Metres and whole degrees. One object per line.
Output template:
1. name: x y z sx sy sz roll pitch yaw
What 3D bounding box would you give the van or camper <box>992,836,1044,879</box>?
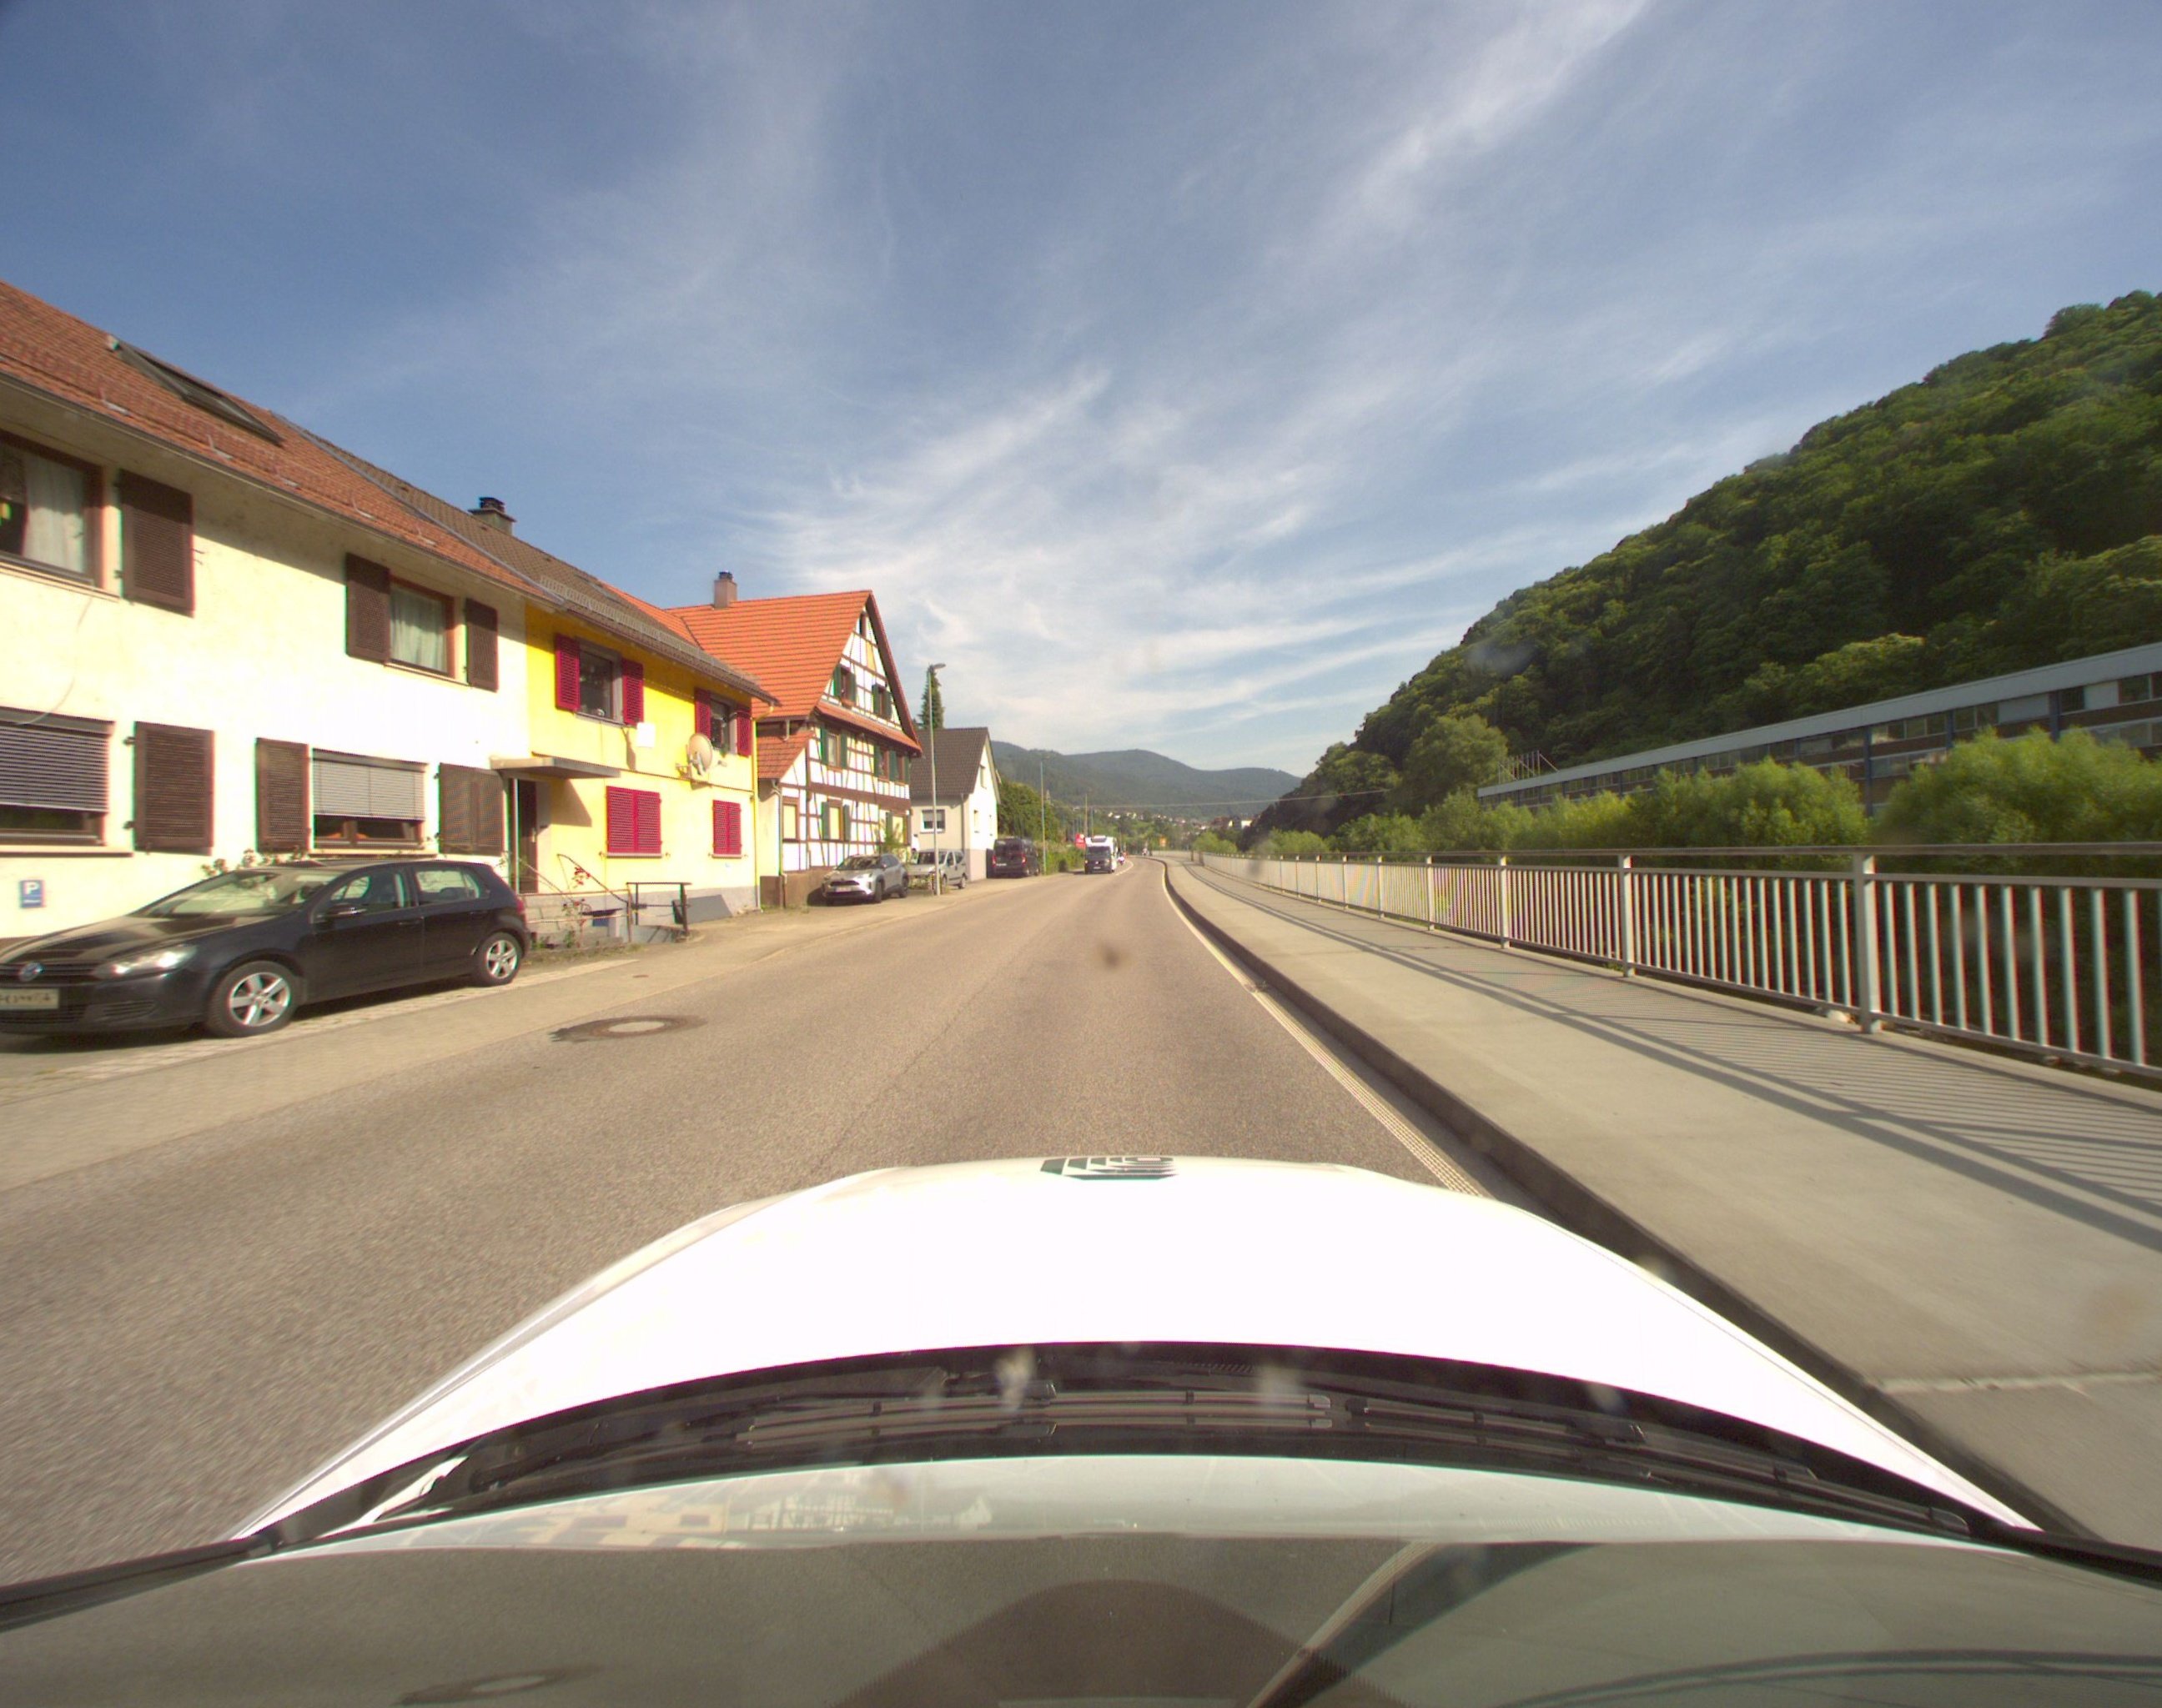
1. van or camper: -3.960 0.211 52.177 2.137 2.555 5.912 -1 0 6

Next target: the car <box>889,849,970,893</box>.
1. car: -6.069 0.649 33.095 1.890 1.664 4.278 -1 0 9

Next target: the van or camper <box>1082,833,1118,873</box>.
1. van or camper: 1.544 -0.058 63.607 2.184 2.938 7.139 -1 0 6

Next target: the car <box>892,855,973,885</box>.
1. car: -7.994 0.841 43.956 3.900 1.550 1.910 1 0 4

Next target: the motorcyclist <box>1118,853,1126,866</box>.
1. motorcyclist: 4.852 0.637 95.720 0.821 1.558 0.629 -2 -1 9

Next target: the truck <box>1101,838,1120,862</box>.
1. truck: 5.155 -0.716 143.099 2.571 3.931 11.300 -2 0 -1

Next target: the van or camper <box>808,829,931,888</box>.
1. van or camper: -9.978 0.215 38.526 5.141 2.663 2.199 0 0 12

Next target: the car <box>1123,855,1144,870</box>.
1. car: 5.688 0.897 87.918 1.618 1.485 4.015 0 0 14

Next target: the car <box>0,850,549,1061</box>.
1. car: -7.565 0.733 7.985 1.878 1.519 4.236 0 0 0

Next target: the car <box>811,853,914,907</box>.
1. car: -6.921 0.776 26.289 1.876 1.519 4.099 -3 0 4

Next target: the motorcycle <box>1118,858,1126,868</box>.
1. motorcycle: 4.839 1.058 96.040 0.650 1.068 2.187 -2 0 8
